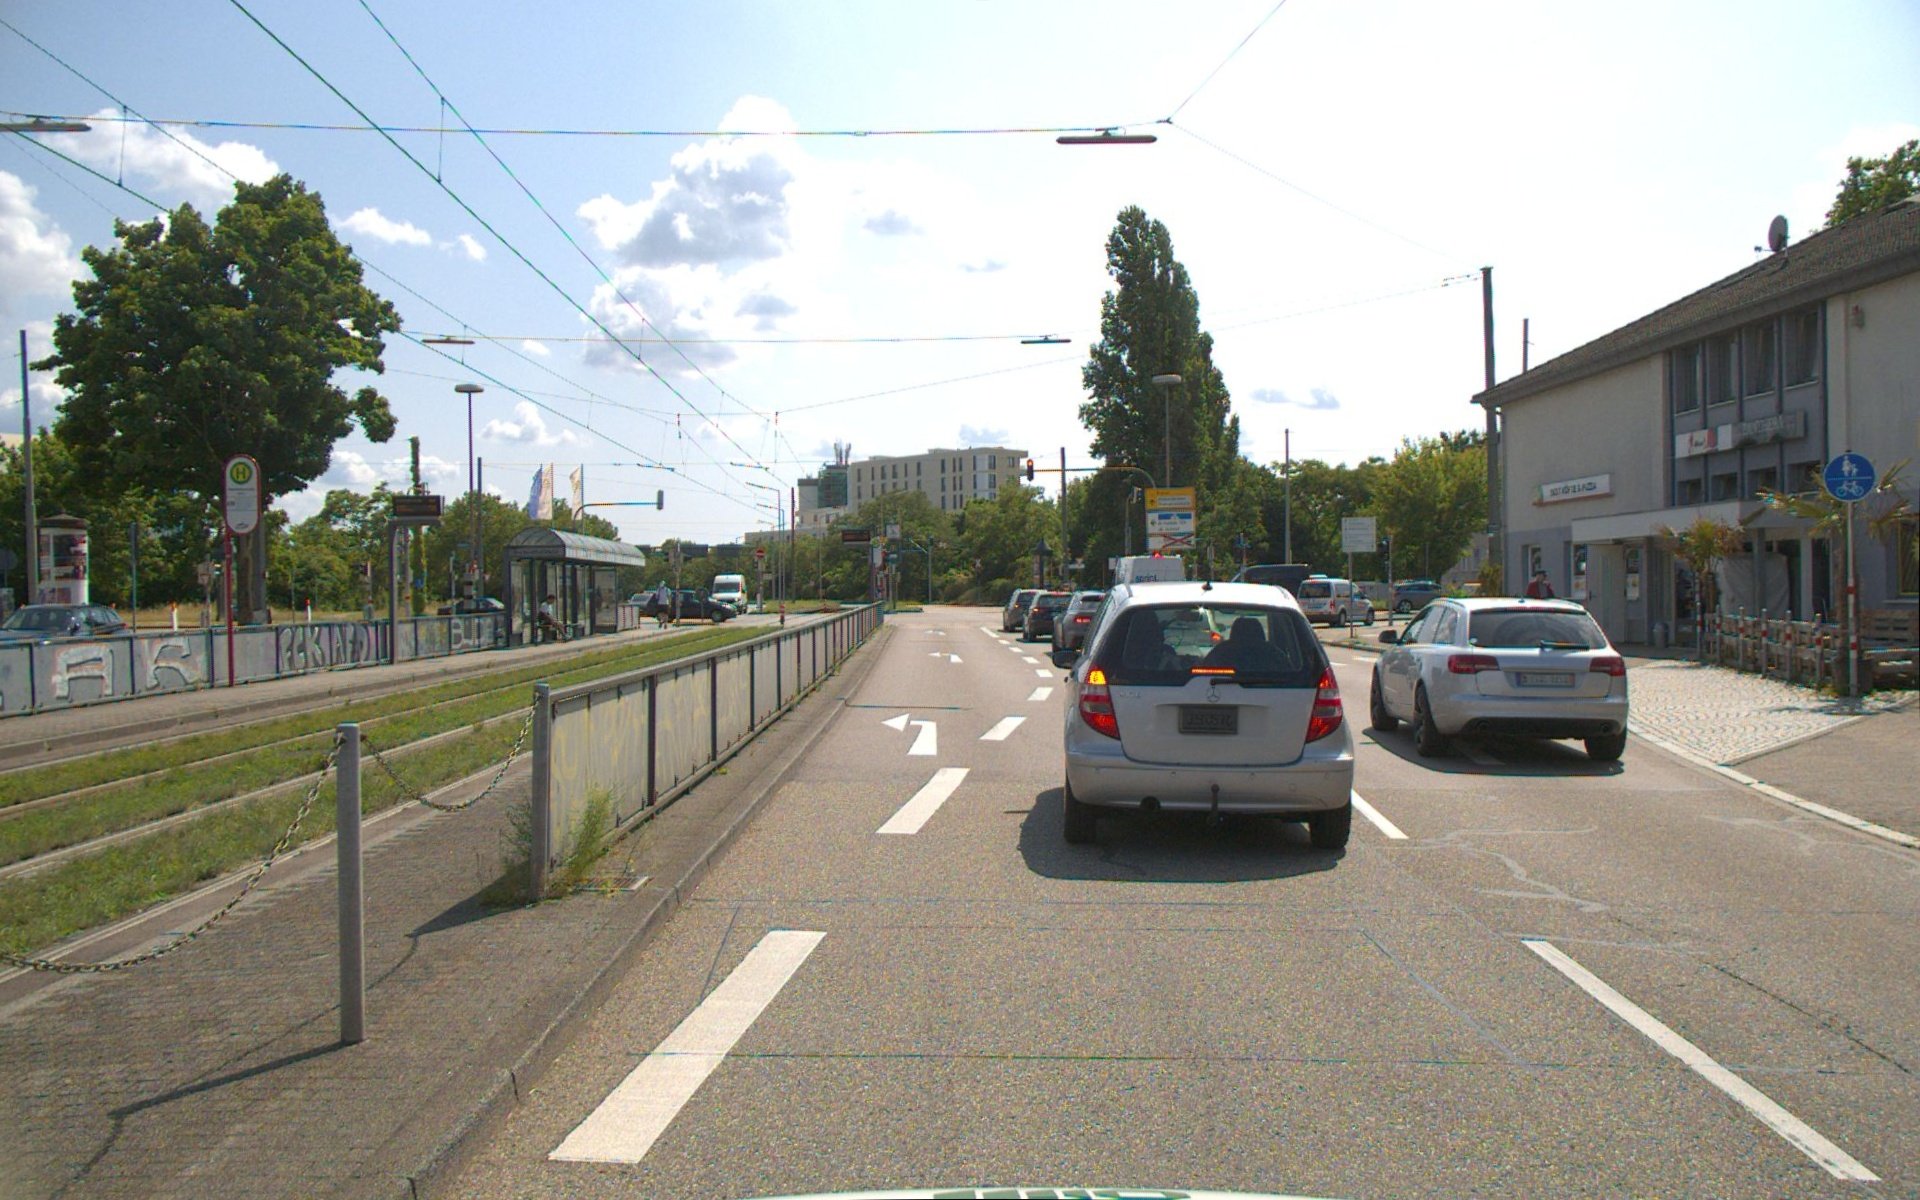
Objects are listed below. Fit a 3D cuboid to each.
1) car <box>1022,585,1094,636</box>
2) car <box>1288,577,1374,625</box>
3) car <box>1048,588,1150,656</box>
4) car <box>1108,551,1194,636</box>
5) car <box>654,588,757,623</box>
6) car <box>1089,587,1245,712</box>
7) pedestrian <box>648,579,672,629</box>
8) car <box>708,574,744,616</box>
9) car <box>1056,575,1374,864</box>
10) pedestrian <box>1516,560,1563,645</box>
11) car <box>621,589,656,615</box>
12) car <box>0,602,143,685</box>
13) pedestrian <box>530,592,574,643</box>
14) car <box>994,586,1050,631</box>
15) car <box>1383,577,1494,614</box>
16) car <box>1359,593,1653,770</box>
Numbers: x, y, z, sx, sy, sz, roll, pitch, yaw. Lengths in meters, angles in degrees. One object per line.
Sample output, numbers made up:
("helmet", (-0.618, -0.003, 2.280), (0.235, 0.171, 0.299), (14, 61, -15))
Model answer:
("car", (2.876, 0.296, 49.351), (1.832, 1.444, 4.099), (0, 0, -1))
("car", (14.330, 0.033, 63.796), (1.852, 1.761, 4.081), (-2, -1, 34))
("car", (3.138, 0.460, 38.329), (1.849, 1.473, 4.827), (0, 0, -1))
("car", (6.100, -0.214, 53.461), (2.000, 2.602, 5.229), (-1, 0, -2))
("car", (-12.276, 0.250, 79.985), (4.576, 1.576, 2.001), (-1, 0, 4))
("car", (2.695, 0.579, 22.452), (1.702, 1.518, 4.631), (0, 0, 2))
("pedestrian", (-11.127, 0.136, 61.309), (0.791, 1.826, 0.708), (-1, 0, -4))
("car", (-15.418, -0.321, 109.044), (1.954, 2.651, 4.875), (0, 0, -3))
("car", (1.621, 0.653, 11.299), (1.749, 1.604, 4.097), (-1, 0, 6))
("pedestrian", (12.853, 0.048, 36.671), (0.707, 1.813, 0.703), (-3, 0, 1))
("car", (-21.272, 0.145, 109.478), (1.826, 1.680, 3.996), (0, 0, -5))
("car", (-19.979, 0.907, 36.437), (2.021, 1.642, 4.746), (-1, 0, -7))
("pedestrian", (-11.443, 0.492, 46.403), (1.037, 1.400, 0.860), (0, 0, -1))
("car", (2.173, 0.283, 58.908), (1.709, 1.525, 4.378), (0, 0, -1))
("car", (22.723, -0.229, 78.658), (4.762, 1.689, 2.000), (0, 0, 2))
("car", (5.319, 0.700, 16.734), (1.815, 1.518, 4.539), (0, 0, 5))
